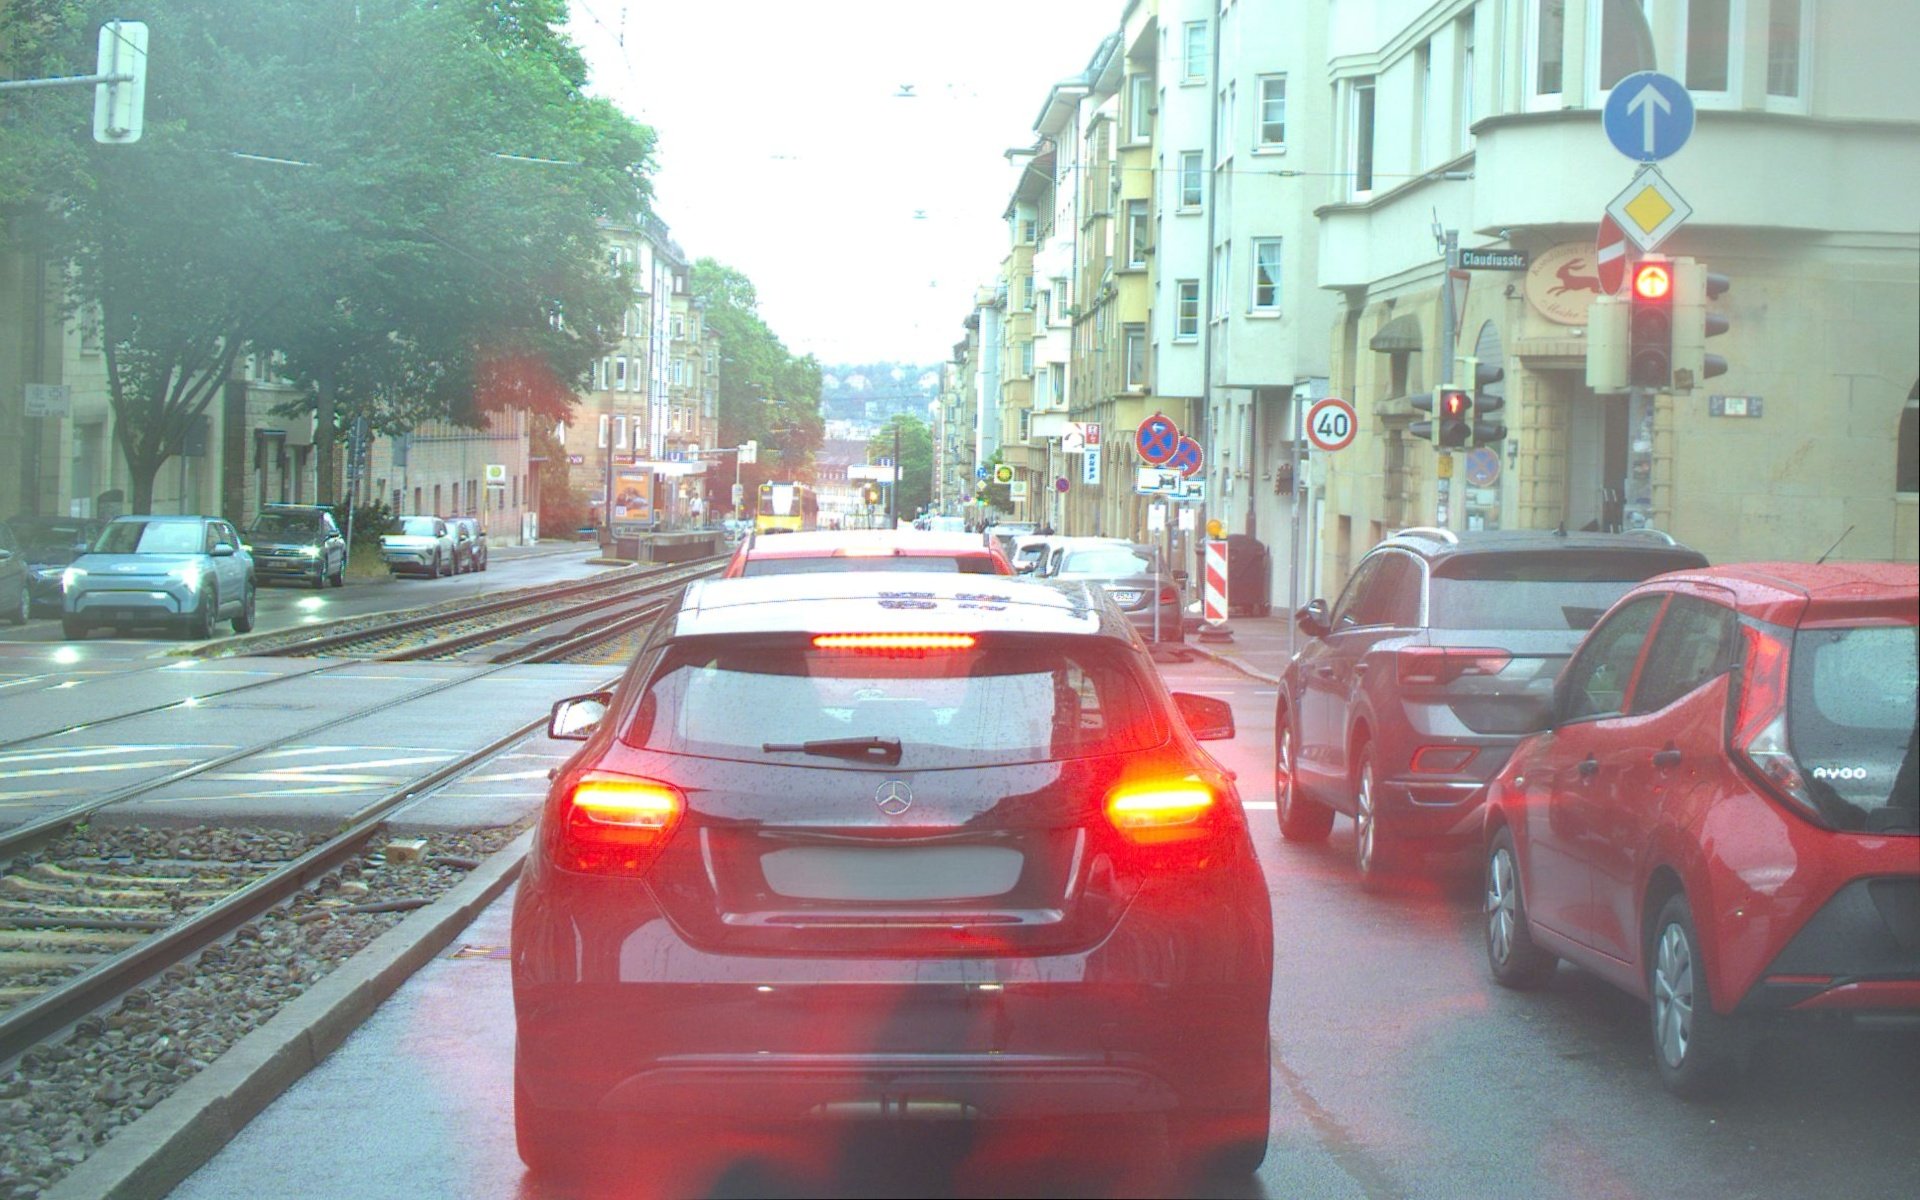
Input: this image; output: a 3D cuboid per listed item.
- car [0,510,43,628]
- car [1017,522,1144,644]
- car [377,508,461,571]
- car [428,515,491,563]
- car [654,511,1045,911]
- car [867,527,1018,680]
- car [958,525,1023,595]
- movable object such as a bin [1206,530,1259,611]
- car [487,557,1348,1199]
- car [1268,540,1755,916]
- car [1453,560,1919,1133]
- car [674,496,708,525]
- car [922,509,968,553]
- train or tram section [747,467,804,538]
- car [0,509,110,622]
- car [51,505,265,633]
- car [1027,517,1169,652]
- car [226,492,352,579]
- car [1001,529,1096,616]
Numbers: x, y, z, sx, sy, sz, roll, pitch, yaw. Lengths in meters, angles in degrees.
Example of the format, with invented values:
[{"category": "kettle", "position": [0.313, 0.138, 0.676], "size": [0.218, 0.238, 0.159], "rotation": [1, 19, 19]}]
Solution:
[{"category": "car", "position": [-13.480, -0.424, 45.688], "size": [1.752, 1.547, 4.036], "rotation": [1, 0, -4]}, {"category": "car", "position": [1.616, -0.255, 47.112], "size": [1.544, 1.585, 3.548], "rotation": [1, 1, -1]}, {"category": "car", "position": [-13.996, -1.542, 89.160], "size": [1.589, 1.575, 3.918], "rotation": [1, 0, -1]}, {"category": "car", "position": [-14.340, -1.729, 98.569], "size": [1.448, 1.326, 3.272], "rotation": [1, 0, -2]}, {"category": "car", "position": [-0.472, 0.433, 15.840], "size": [1.565, 1.604, 3.814], "rotation": [1, 0, -1]}, {"category": "car", "position": [-0.239, 0.005, 39.031], "size": [1.544, 1.630, 3.686], "rotation": [1, 1, -3]}, {"category": "car", "position": [0.635, -0.869, 73.590], "size": [1.294, 1.437, 2.929], "rotation": [1, 1, -1]}, {"category": "movable object such as a bin", "position": [4.714, -0.517, 59.569], "size": [0.878, 1.384, 0.982], "rotation": [1, 0, 3]}, {"category": "car", "position": [-0.118, 0.636, 9.454], "size": [1.829, 1.453, 4.104], "rotation": [1, 1, -1]}, {"category": "car", "position": [2.393, 0.483, 15.760], "size": [1.544, 1.481, 3.830], "rotation": [1, 1, -1]}, {"category": "car", "position": [2.657, 0.627, 10.522], "size": [1.642, 1.443, 3.299], "rotation": [1, 1, -3]}, {"category": "car", "position": [-12.304, -4.099, 157.272], "size": [1.377, 1.245, 3.298], "rotation": [1, 0, -2]}, {"category": "car", "position": [-0.669, -2.991, 150.162], "size": [1.993, 1.870, 4.000], "rotation": [1, 0, -1]}, {"category": "train or tram section", "position": [-10.522, -5.521, 197.283], "size": [2.783, 3.847, 10.430], "rotation": [1, 0, -1]}, {"category": "car", "position": [-13.733, -0.513, 50.718], "size": [1.716, 1.605, 3.919], "rotation": [1, 0, -5]}, {"category": "car", "position": [-10.455, -0.410, 45.074], "size": [1.898, 1.582, 3.973], "rotation": [1, 0, -1]}, {"category": "car", "position": [1.672, -0.218, 42.637], "size": [1.544, 1.585, 3.548], "rotation": [1, 1, -1]}, {"category": "car", "position": [-13.956, -1.322, 71.697], "size": [1.875, 1.731, 3.918], "rotation": [1, 0, -1]}, {"category": "car", "position": [1.556, -0.511, 61.522], "size": [1.544, 1.481, 3.548], "rotation": [1, 1, -1]}]
